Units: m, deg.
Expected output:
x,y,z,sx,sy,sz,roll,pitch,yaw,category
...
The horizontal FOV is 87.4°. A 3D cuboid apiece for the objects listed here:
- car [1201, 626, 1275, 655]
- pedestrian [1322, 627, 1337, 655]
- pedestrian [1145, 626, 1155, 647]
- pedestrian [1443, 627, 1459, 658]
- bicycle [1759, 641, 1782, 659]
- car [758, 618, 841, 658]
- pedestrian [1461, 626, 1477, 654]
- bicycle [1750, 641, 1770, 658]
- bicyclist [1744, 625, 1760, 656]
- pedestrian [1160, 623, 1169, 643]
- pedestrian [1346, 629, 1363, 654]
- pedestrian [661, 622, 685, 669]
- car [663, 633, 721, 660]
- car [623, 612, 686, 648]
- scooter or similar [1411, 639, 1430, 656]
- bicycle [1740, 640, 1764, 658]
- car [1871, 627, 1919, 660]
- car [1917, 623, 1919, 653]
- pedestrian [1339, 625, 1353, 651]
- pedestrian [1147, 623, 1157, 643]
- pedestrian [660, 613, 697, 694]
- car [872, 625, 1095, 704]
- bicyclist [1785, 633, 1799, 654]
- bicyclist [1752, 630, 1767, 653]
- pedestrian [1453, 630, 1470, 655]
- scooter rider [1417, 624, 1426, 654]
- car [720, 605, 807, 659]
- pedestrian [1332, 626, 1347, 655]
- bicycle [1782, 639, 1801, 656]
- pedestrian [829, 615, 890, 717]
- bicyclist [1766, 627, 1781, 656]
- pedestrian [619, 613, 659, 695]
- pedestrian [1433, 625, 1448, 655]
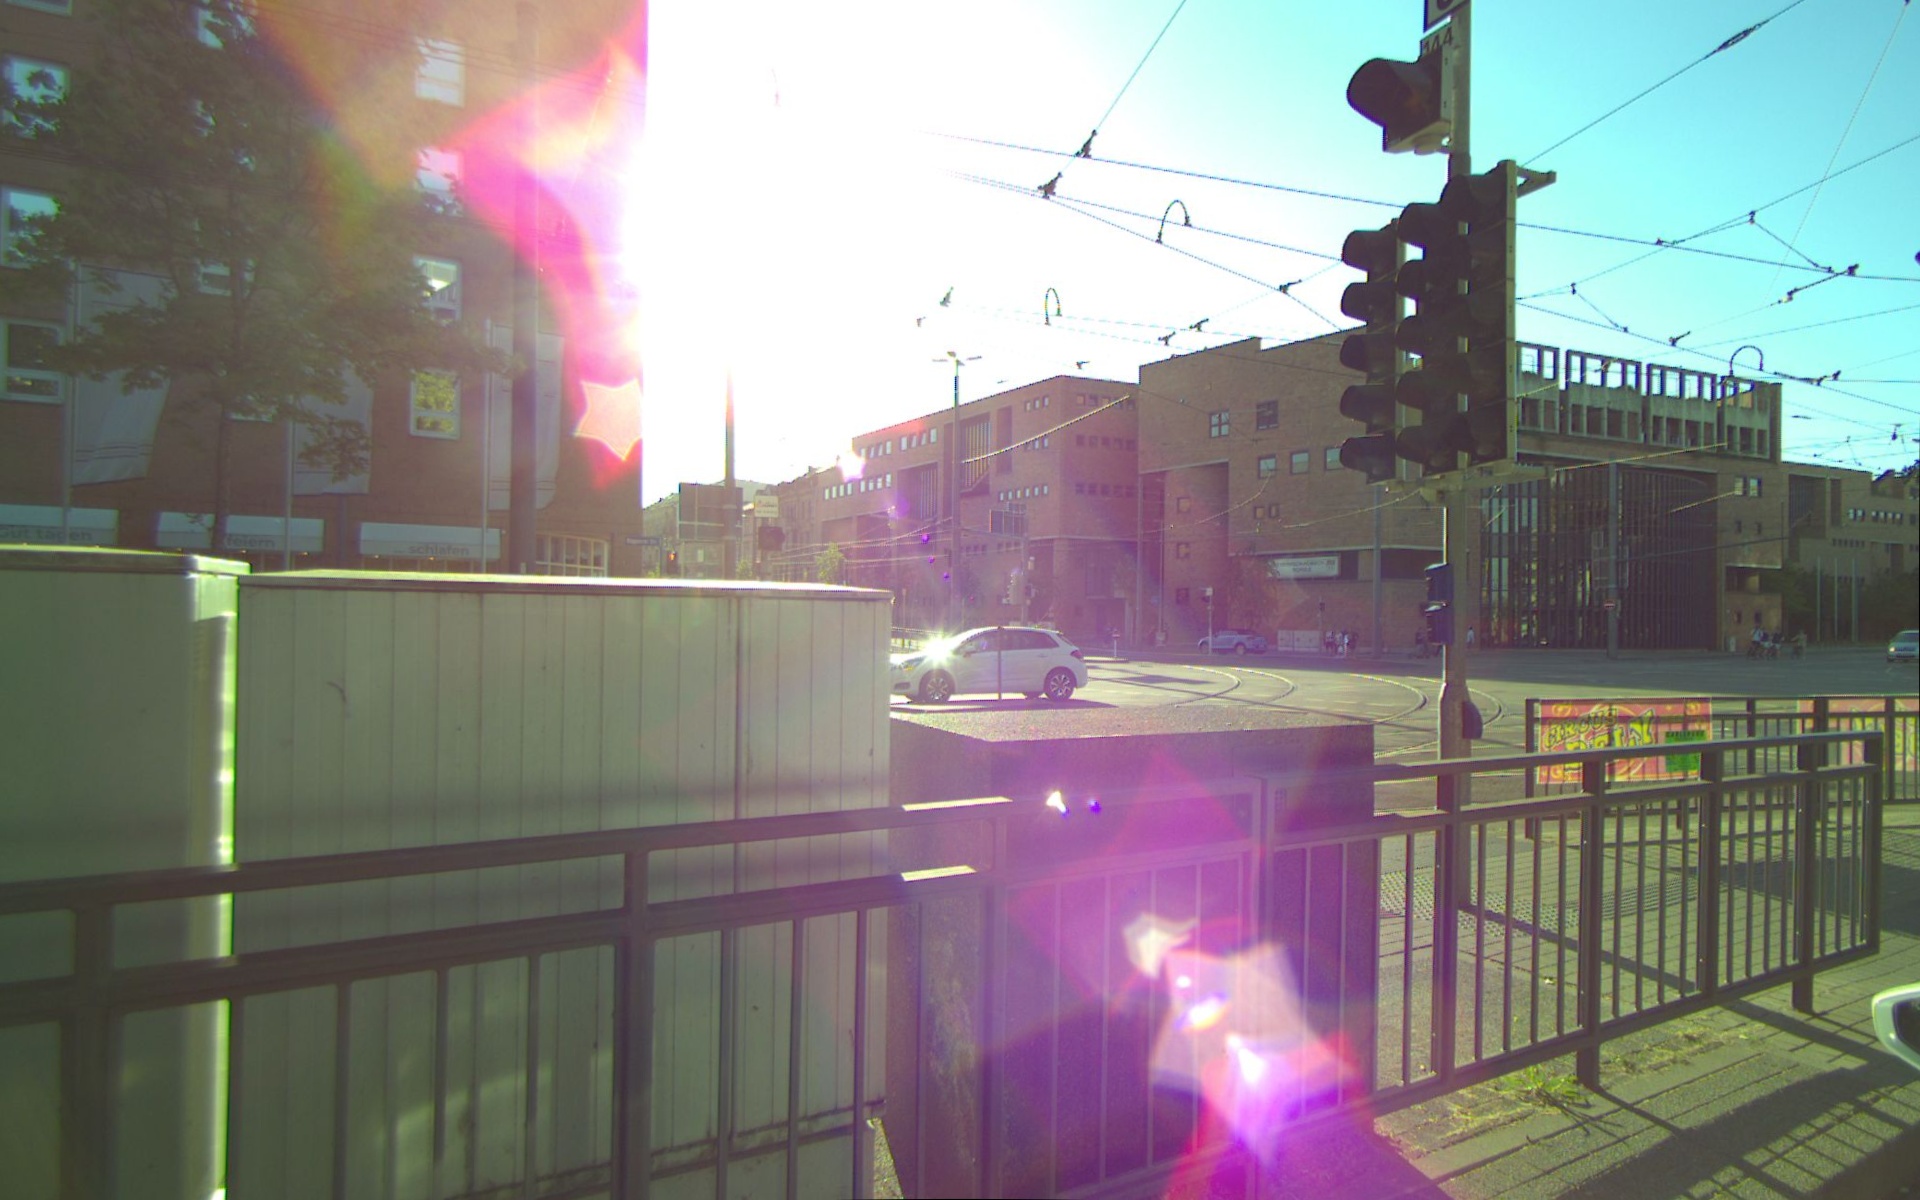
x,y,z,sx,sy,sz,roll,pitch,yaw,category
15.808,2.301,57.258,1.984,1.595,3.684,1,-2,-36,car
21.506,2.375,58.504,0.582,1.635,0.593,1,-1,-31,pedestrian
13.779,2.649,72.848,0.463,1.482,0.505,1,-1,-37,pedestrian
27.339,2.377,55.946,0.540,1.706,0.592,0,-1,-4,pedestrian
44.896,2.751,55.622,1.557,0.976,0.470,1,-1,-30,bicycle
-8.334,1.908,51.711,1.982,1.928,5.156,1,-2,-38,car
29.341,2.303,57.896,0.607,1.647,0.612,1,-1,-7,pedestrian
46.636,2.907,58.568,1.304,0.976,0.465,1,-1,-30,bicycle
44.488,2.269,56.412,0.574,1.754,0.534,1,-1,-30,bicyclist
15.174,2.449,74.392,0.549,1.445,0.556,0,-1,1,pedestrian
22.264,2.338,56.709,0.670,1.357,0.603,1,-1,-14,pedestrian
-10.436,1.650,36.548,0.658,1.669,0.638,1,-1,-34,pedestrian
-14.423,2.474,54.002,1.729,1.372,3.960,1,-2,-36,car
-18.791,1.812,61.576,1.982,2.122,5.156,1,-2,-38,car
25.386,2.638,55.381,0.931,0.911,0.176,0,-1,14,scooter or similar
44.467,2.765,56.379,1.568,0.976,0.539,1,-1,-30,bicycle
48.991,2.222,51.787,3.954,1.661,1.984,1,-2,-31,car
55.261,2.109,55.900,3.954,1.661,1.984,1,-2,-31,car
22.477,2.224,58.551,0.611,1.473,0.562,2,-2,-45,pedestrian
14.290,2.442,74.861,0.524,1.482,0.590,1,-1,-10,pedestrian
-6.635,1.244,23.665,0.647,1.864,0.835,1,-1,-28,pedestrian
0.449,1.272,20.507,4.238,1.508,1.756,1,-1,-16,car
49.349,2.584,59.578,0.574,1.194,0.503,1,-1,-30,bicyclist
46.671,2.406,58.606,0.574,1.321,0.503,1,-1,-30,bicyclist
28.497,2.404,57.083,0.588,1.440,0.641,1,-1,-6,pedestrian
25.434,2.161,55.382,0.429,1.669,0.229,0,-1,15,scooter rider
-9.469,1.518,47.990,1.982,2.419,5.156,1,-2,-38,car
21.760,2.328,57.591,0.543,1.670,0.596,1,-1,-30,pedestrian
49.248,2.807,59.512,1.332,0.976,0.449,1,-1,-30,bicycle
-1.714,1.100,17.071,0.709,1.669,0.953,1,-1,-30,pedestrian
45.098,2.300,55.661,0.574,1.624,0.456,1,-1,-30,bicyclist
-7.453,1.235,23.303,0.713,1.837,0.904,1,-1,-28,pedestrian
27.318,2.277,57.121,0.609,1.706,0.651,0,-1,5,pedestrian
